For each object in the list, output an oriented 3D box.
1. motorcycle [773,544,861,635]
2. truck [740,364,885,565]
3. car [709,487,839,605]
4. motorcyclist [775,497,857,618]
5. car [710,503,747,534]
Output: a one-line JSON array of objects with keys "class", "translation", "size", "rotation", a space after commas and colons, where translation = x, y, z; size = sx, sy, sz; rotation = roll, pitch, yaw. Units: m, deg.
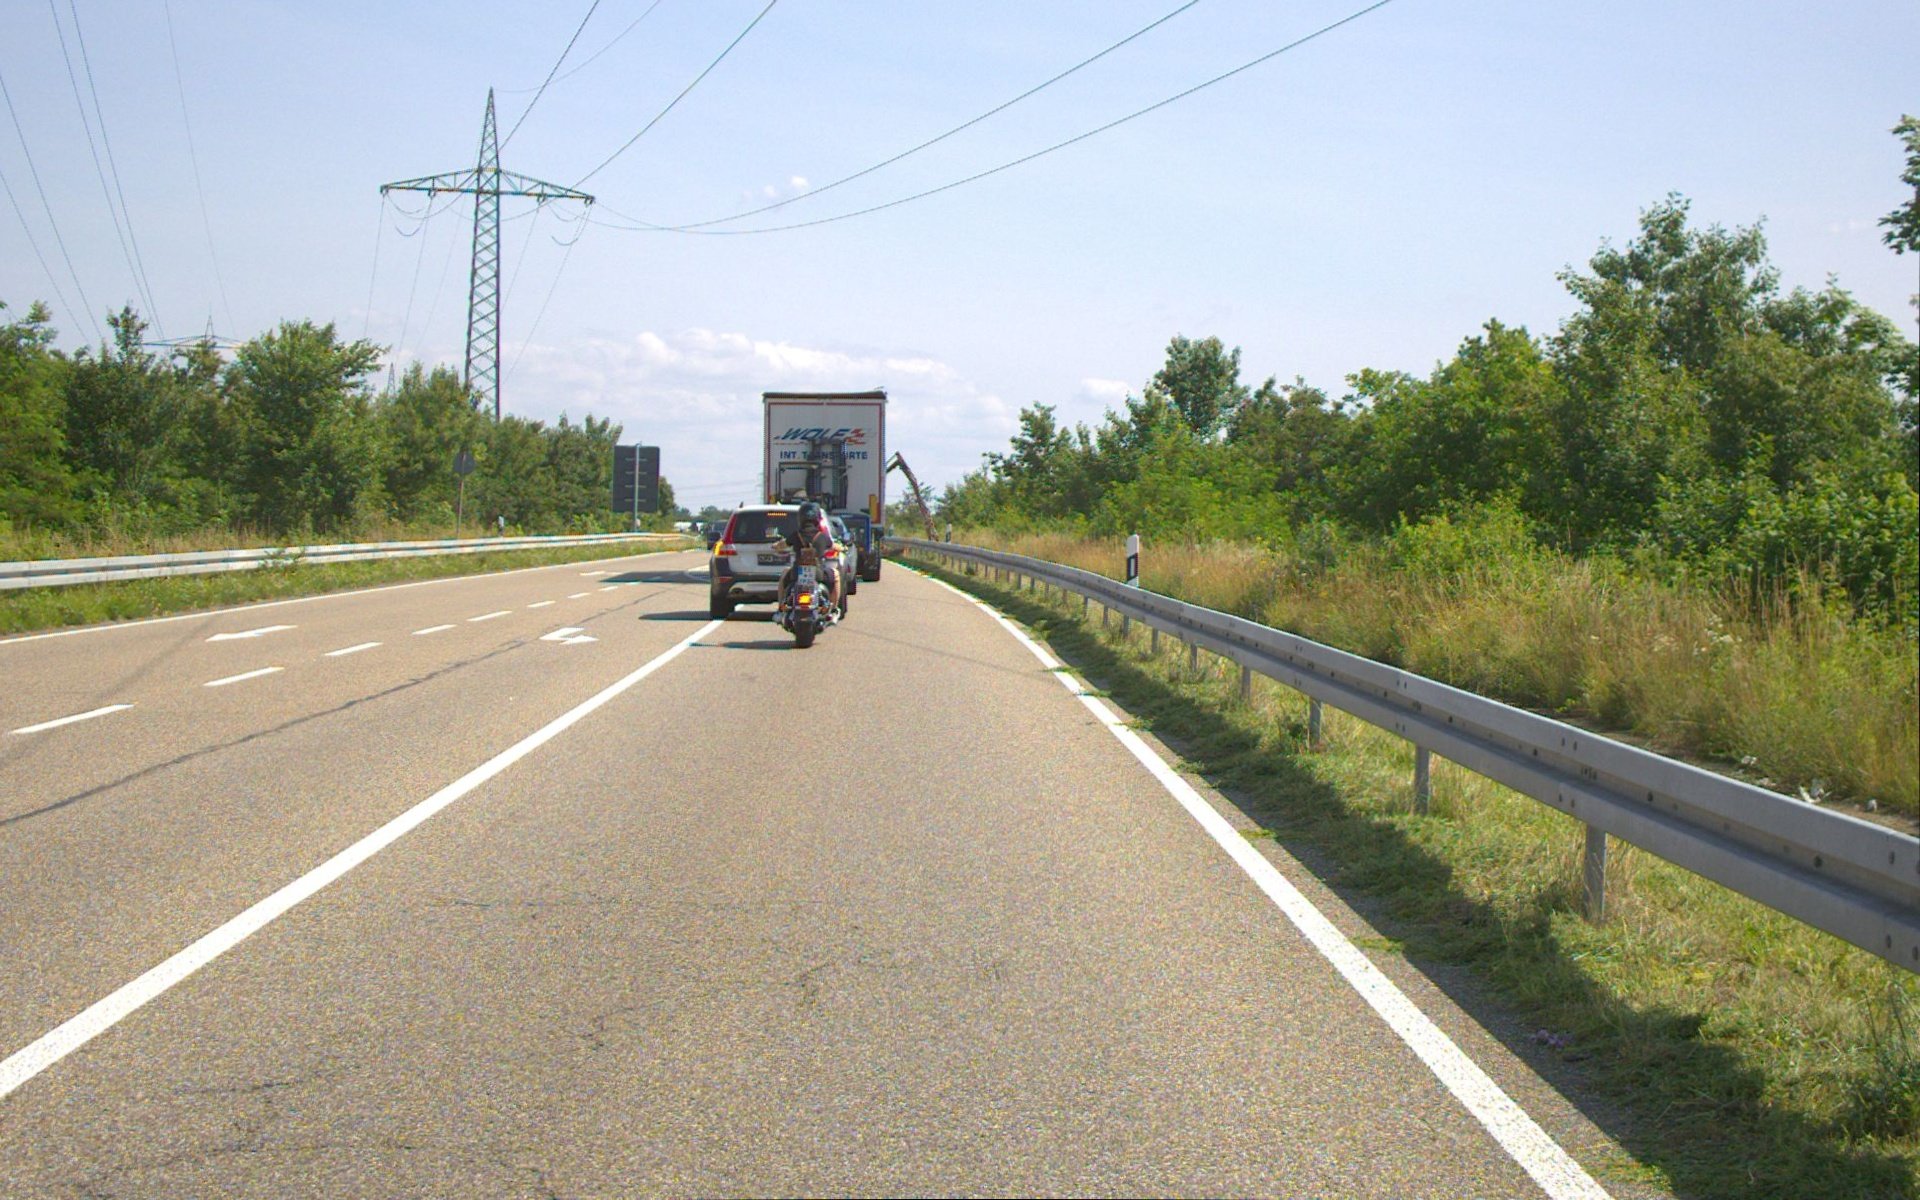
[{"class": "motorcycle", "translation": [-1.563, -0.129, 37.188], "size": [0.858, 0.912, 2.228], "rotation": [1, 2, -4]}, {"class": "truck", "translation": [-3.260, -3.040, 79.511], "size": [2.967, 4.172, 14.823], "rotation": [1, 2, -1]}, {"class": "car", "translation": [-2.525, -0.756, 47.175], "size": [1.701, 1.531, 3.499], "rotation": [1, 2, -2]}, {"class": "motorcyclist", "translation": [-1.567, -0.466, 37.267], "size": [0.837, 1.276, 0.919], "rotation": [1, 1, -4]}, {"class": "car", "translation": [-11.567, -4.093, 171.859], "size": [1.727, 1.485, 4.423], "rotation": [1, 2, -3]}]
